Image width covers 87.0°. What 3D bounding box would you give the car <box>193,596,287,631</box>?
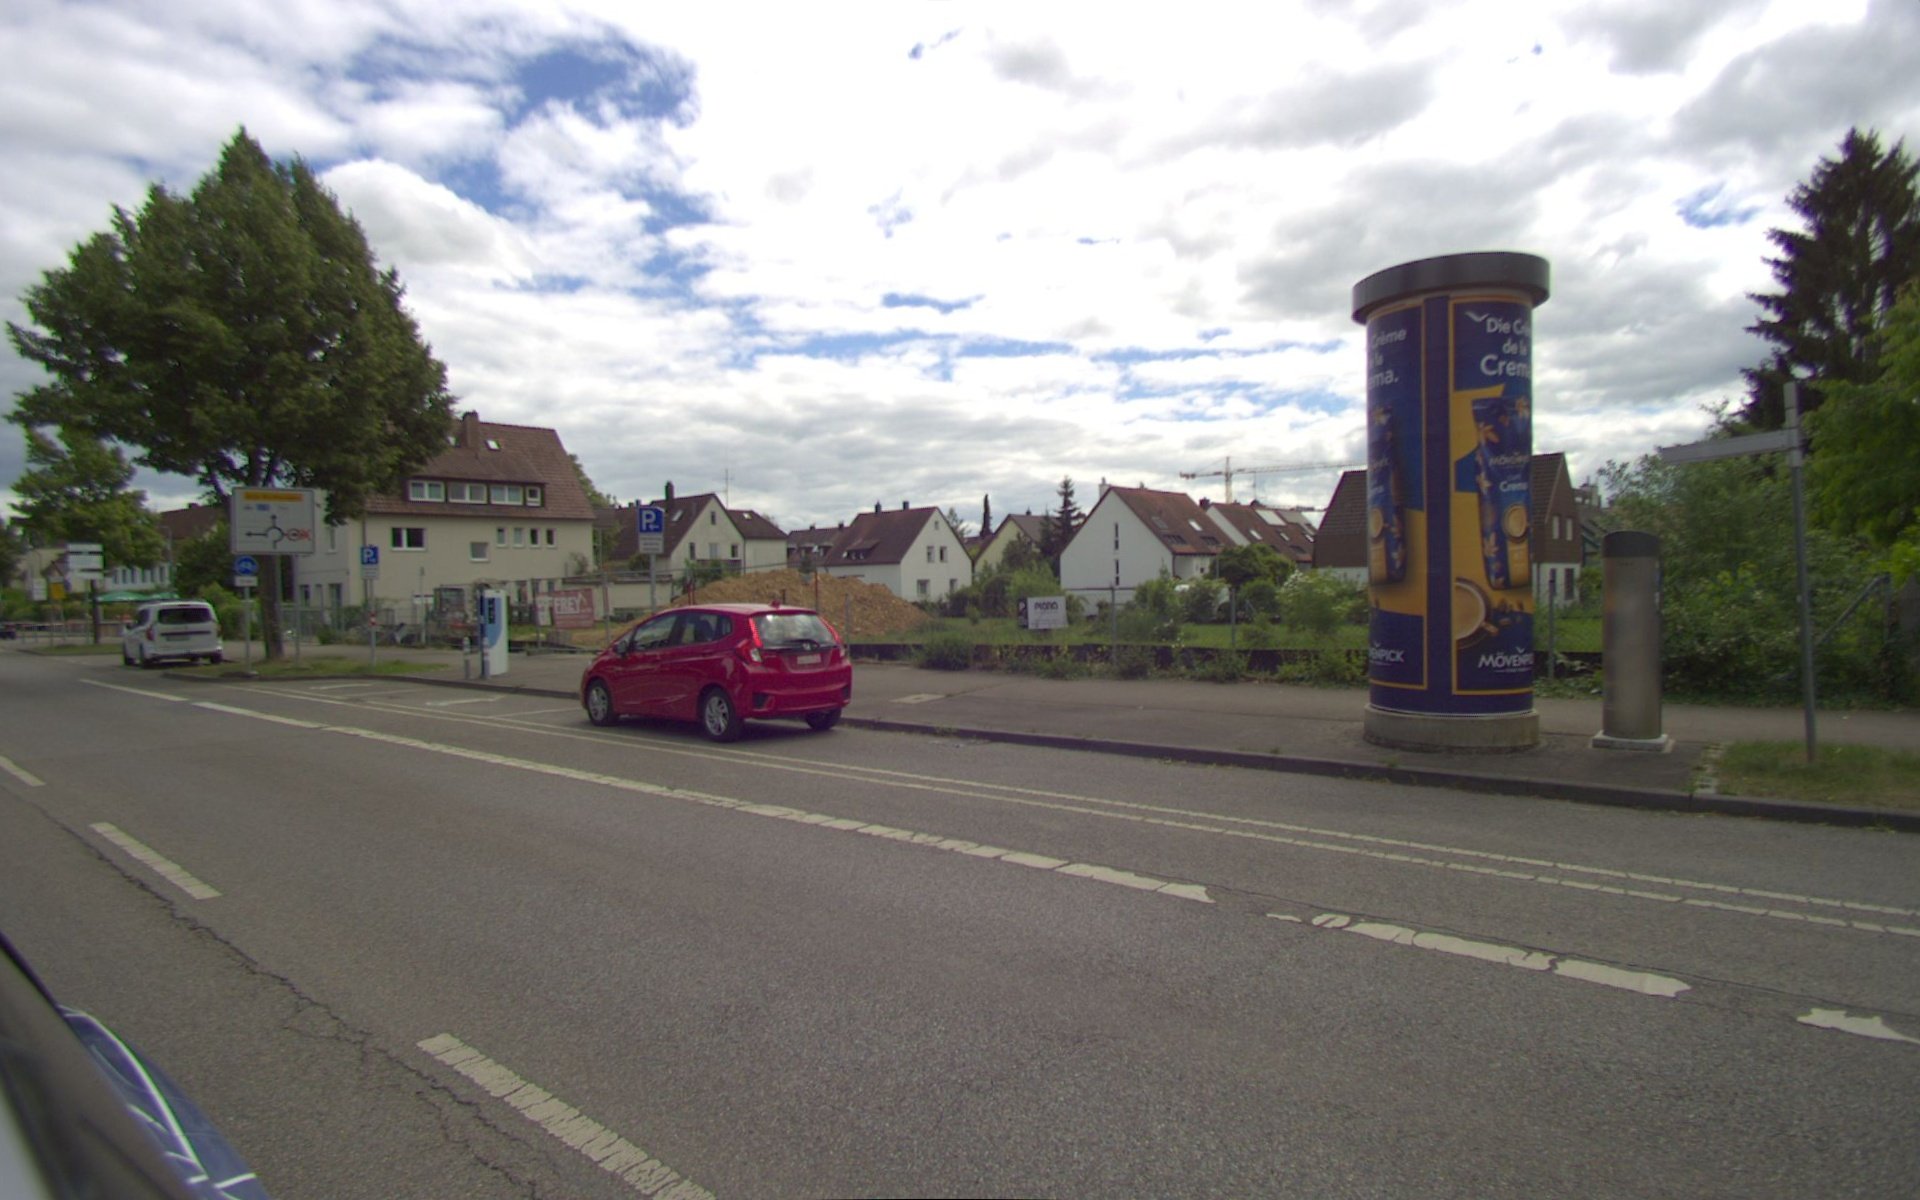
[{"bbox_3d":[-39.268,0.677,55.209,1.856,1.674,3.874,1,3,44],"label":"car"}]

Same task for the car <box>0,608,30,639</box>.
[{"bbox_3d":[-56.684,1.383,60.185,1.899,1.767,4.003,-2,1,-44],"label":"car"}]

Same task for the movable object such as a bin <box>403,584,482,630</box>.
[{"bbox_3d":[-26.062,0.372,50.920,4.356,2.204,1.878,-1,0,38],"label":"movable object such as a bin"}]

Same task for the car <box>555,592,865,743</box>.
[{"bbox_3d":[-3.201,0.721,12.494,4.131,1.552,1.667,-1,0,42],"label":"car"}]

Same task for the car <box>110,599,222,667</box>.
[{"bbox_3d":[-23.103,0.913,29.381,4.549,1.784,1.752,-1,0,42],"label":"car"}]

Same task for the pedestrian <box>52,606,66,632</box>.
[{"bbox_3d":[-64.972,1.388,73.009,0.627,1.840,0.568,-3,1,-36],"label":"pedestrian"}]

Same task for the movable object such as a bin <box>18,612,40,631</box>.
[{"bbox_3d":[-75.664,1.759,82.232,2.720,1.427,0.971,-1,1,40],"label":"movable object such as a bin"}]
